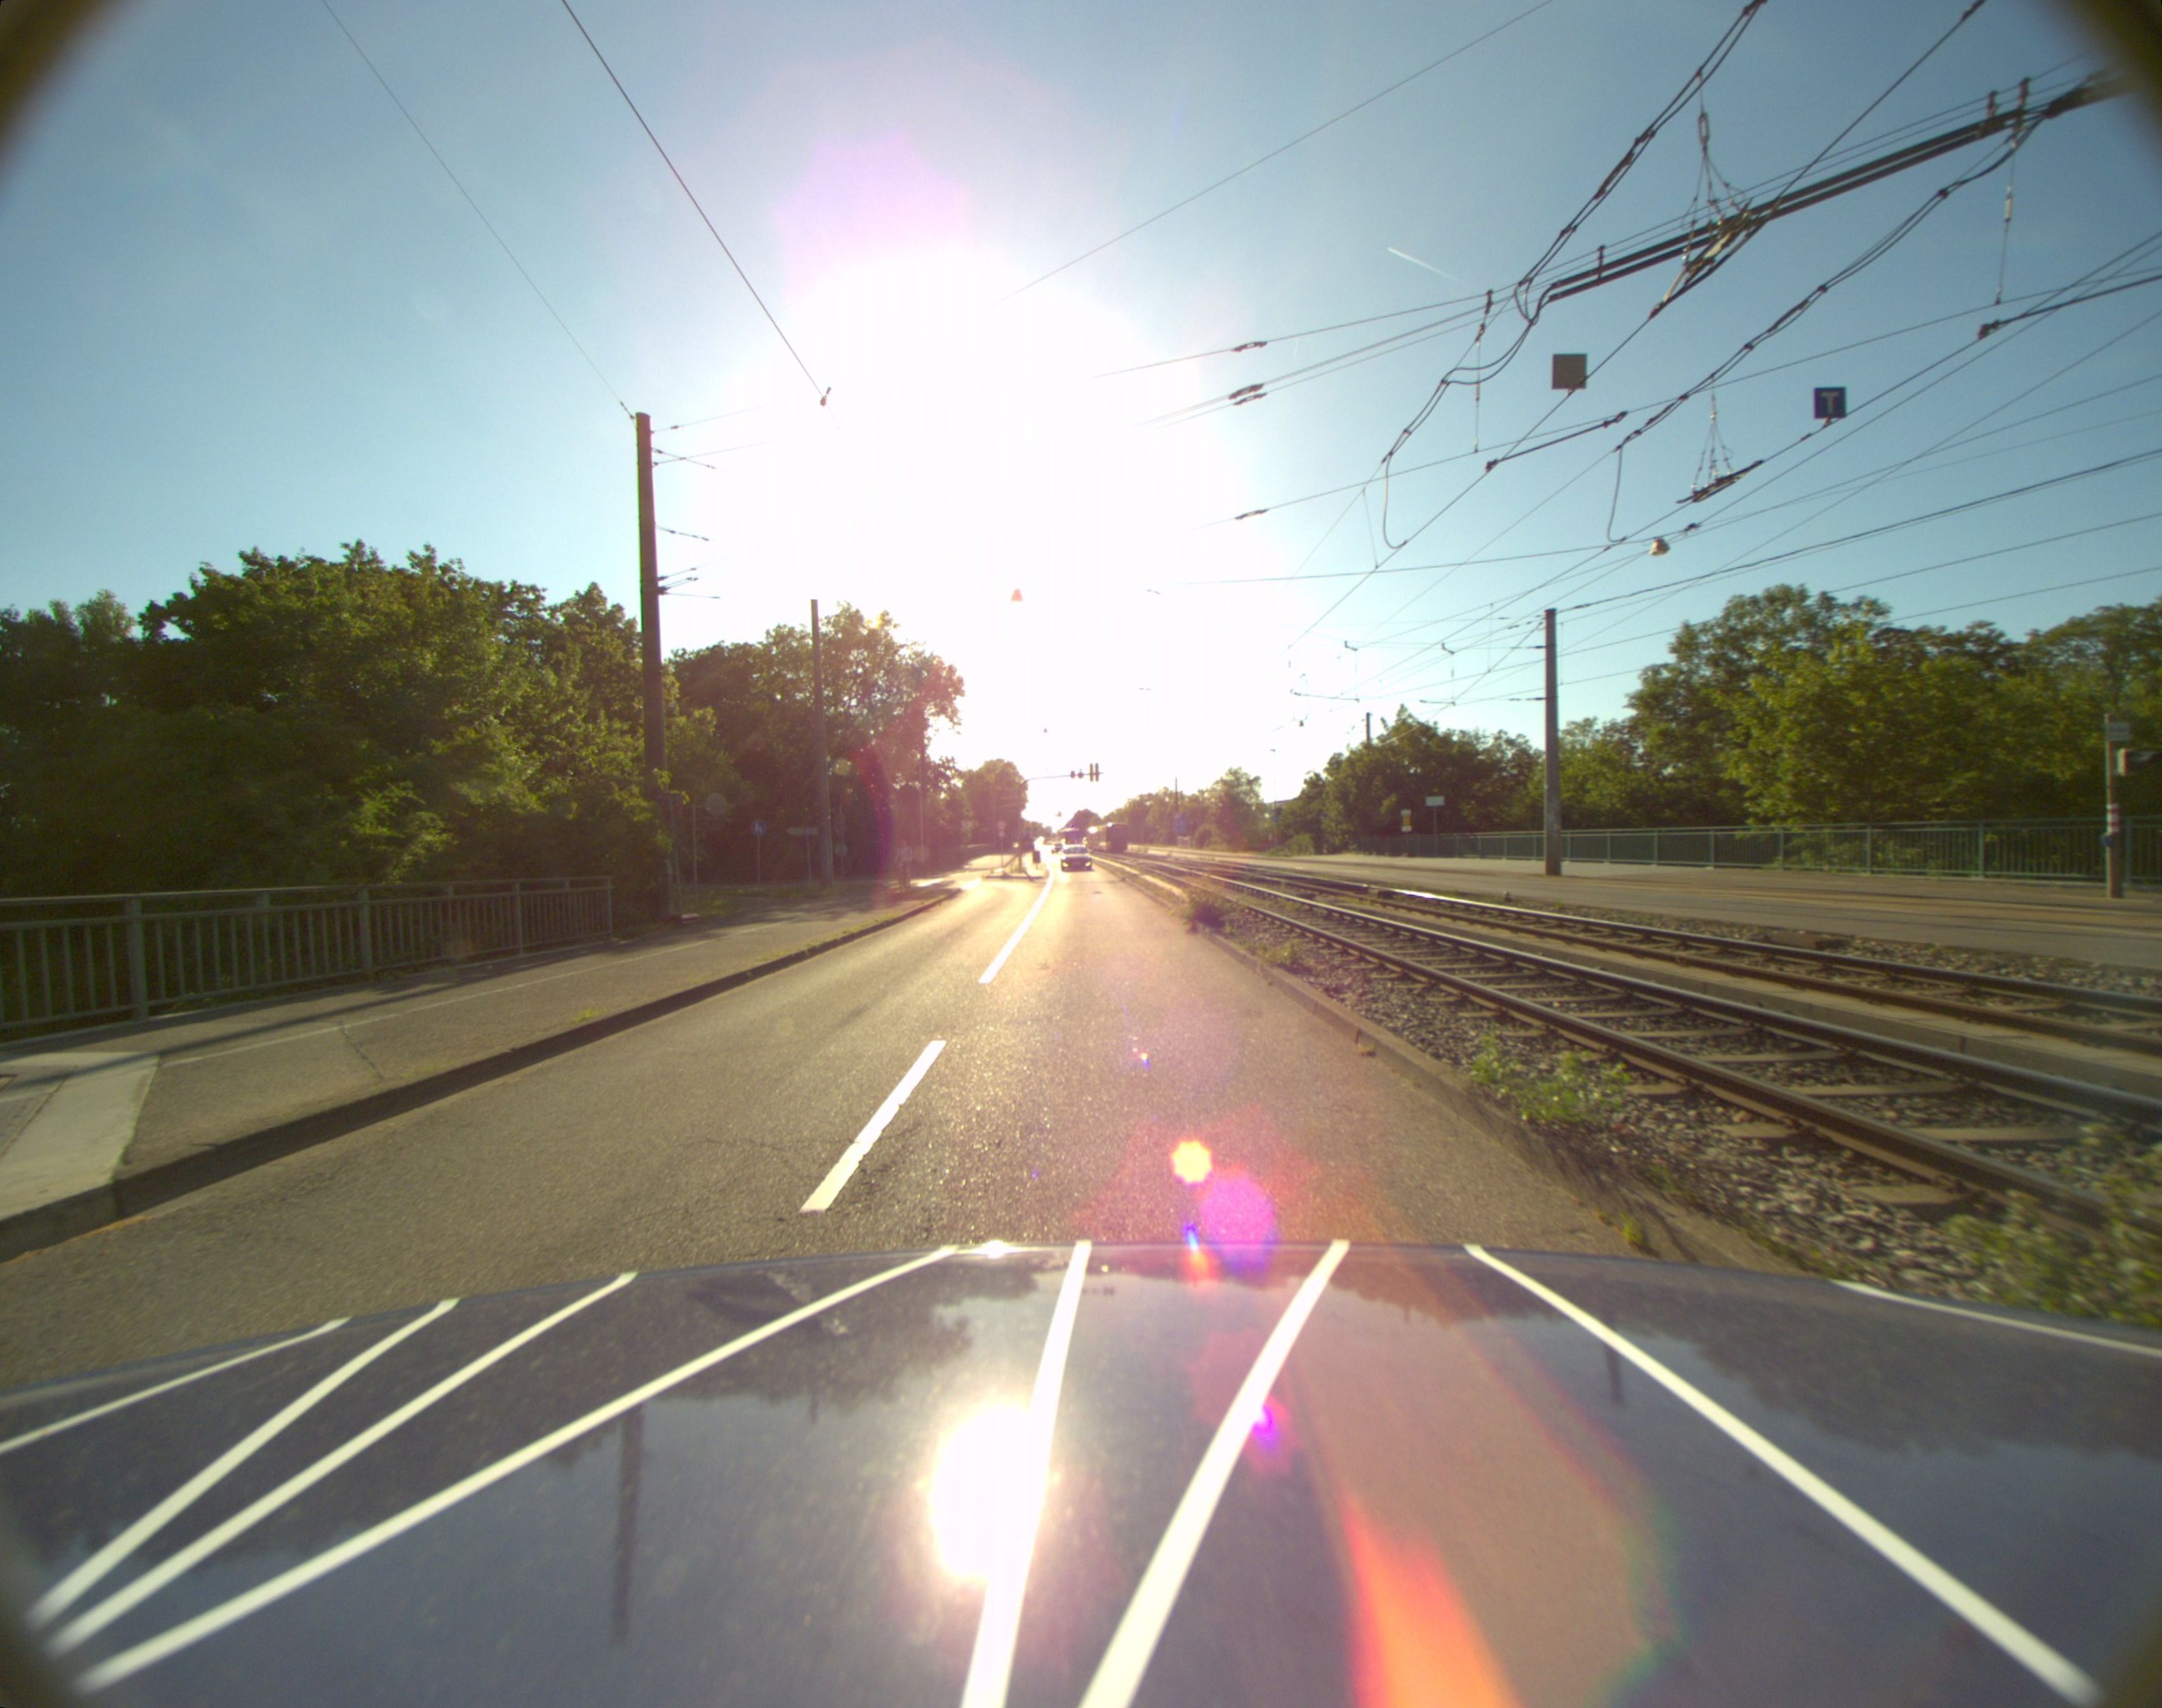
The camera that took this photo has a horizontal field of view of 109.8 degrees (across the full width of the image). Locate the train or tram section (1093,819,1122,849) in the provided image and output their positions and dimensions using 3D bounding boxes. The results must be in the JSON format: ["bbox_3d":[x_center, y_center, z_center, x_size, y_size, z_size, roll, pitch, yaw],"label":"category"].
[{"bbox_3d":[3.636,-2.773,107.241,2.984,3.879,11.658,-2,1,-3],"label":"train or tram section"}]

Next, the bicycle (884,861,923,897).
[{"bbox_3d":[-6.233,0.848,26.802,0.733,1.116,2.741,-4,1,-2],"label":"bicycle"}]

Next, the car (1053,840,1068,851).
[{"bbox_3d":[-2.628,-1.071,97.621,1.801,1.345,3.999,-1,1,0],"label":"car"}]

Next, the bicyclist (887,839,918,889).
[{"bbox_3d":[-6.285,0.347,26.812,0.733,1.680,1.201,-4,1,-2],"label":"bicyclist"}]

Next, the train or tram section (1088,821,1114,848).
[{"bbox_3d":[3.027,-3.038,119.572,3.012,3.879,13.073,-2,1,-3],"label":"train or tram section"}]

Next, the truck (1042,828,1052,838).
[{"bbox_3d":[-11.600,-7.057,259.959,3.315,3.284,15.313,-2,1,-3],"label":"truck"}]

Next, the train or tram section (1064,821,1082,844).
[{"bbox_3d":[-1.501,-3.870,137.197,2.570,3.879,11.665,-2,1,-4],"label":"train or tram section"}]

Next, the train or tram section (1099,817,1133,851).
[{"bbox_3d":[4.240,-2.516,95.071,2.986,3.879,12.694,-2,1,-3],"label":"train or tram section"}]

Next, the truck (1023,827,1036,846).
[{"bbox_3d":[-10.902,-3.668,162.379,2.560,3.827,7.865,-2,1,-3],"label":"truck"}]

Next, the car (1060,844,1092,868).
[{"bbox_3d":[-0.257,0.088,45.114,1.801,1.345,3.999,-1,1,0],"label":"car"}]

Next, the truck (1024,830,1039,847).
[{"bbox_3d":[-9.489,-2.949,145.840,2.610,3.186,7.865,-2,1,-3],"label":"truck"}]
